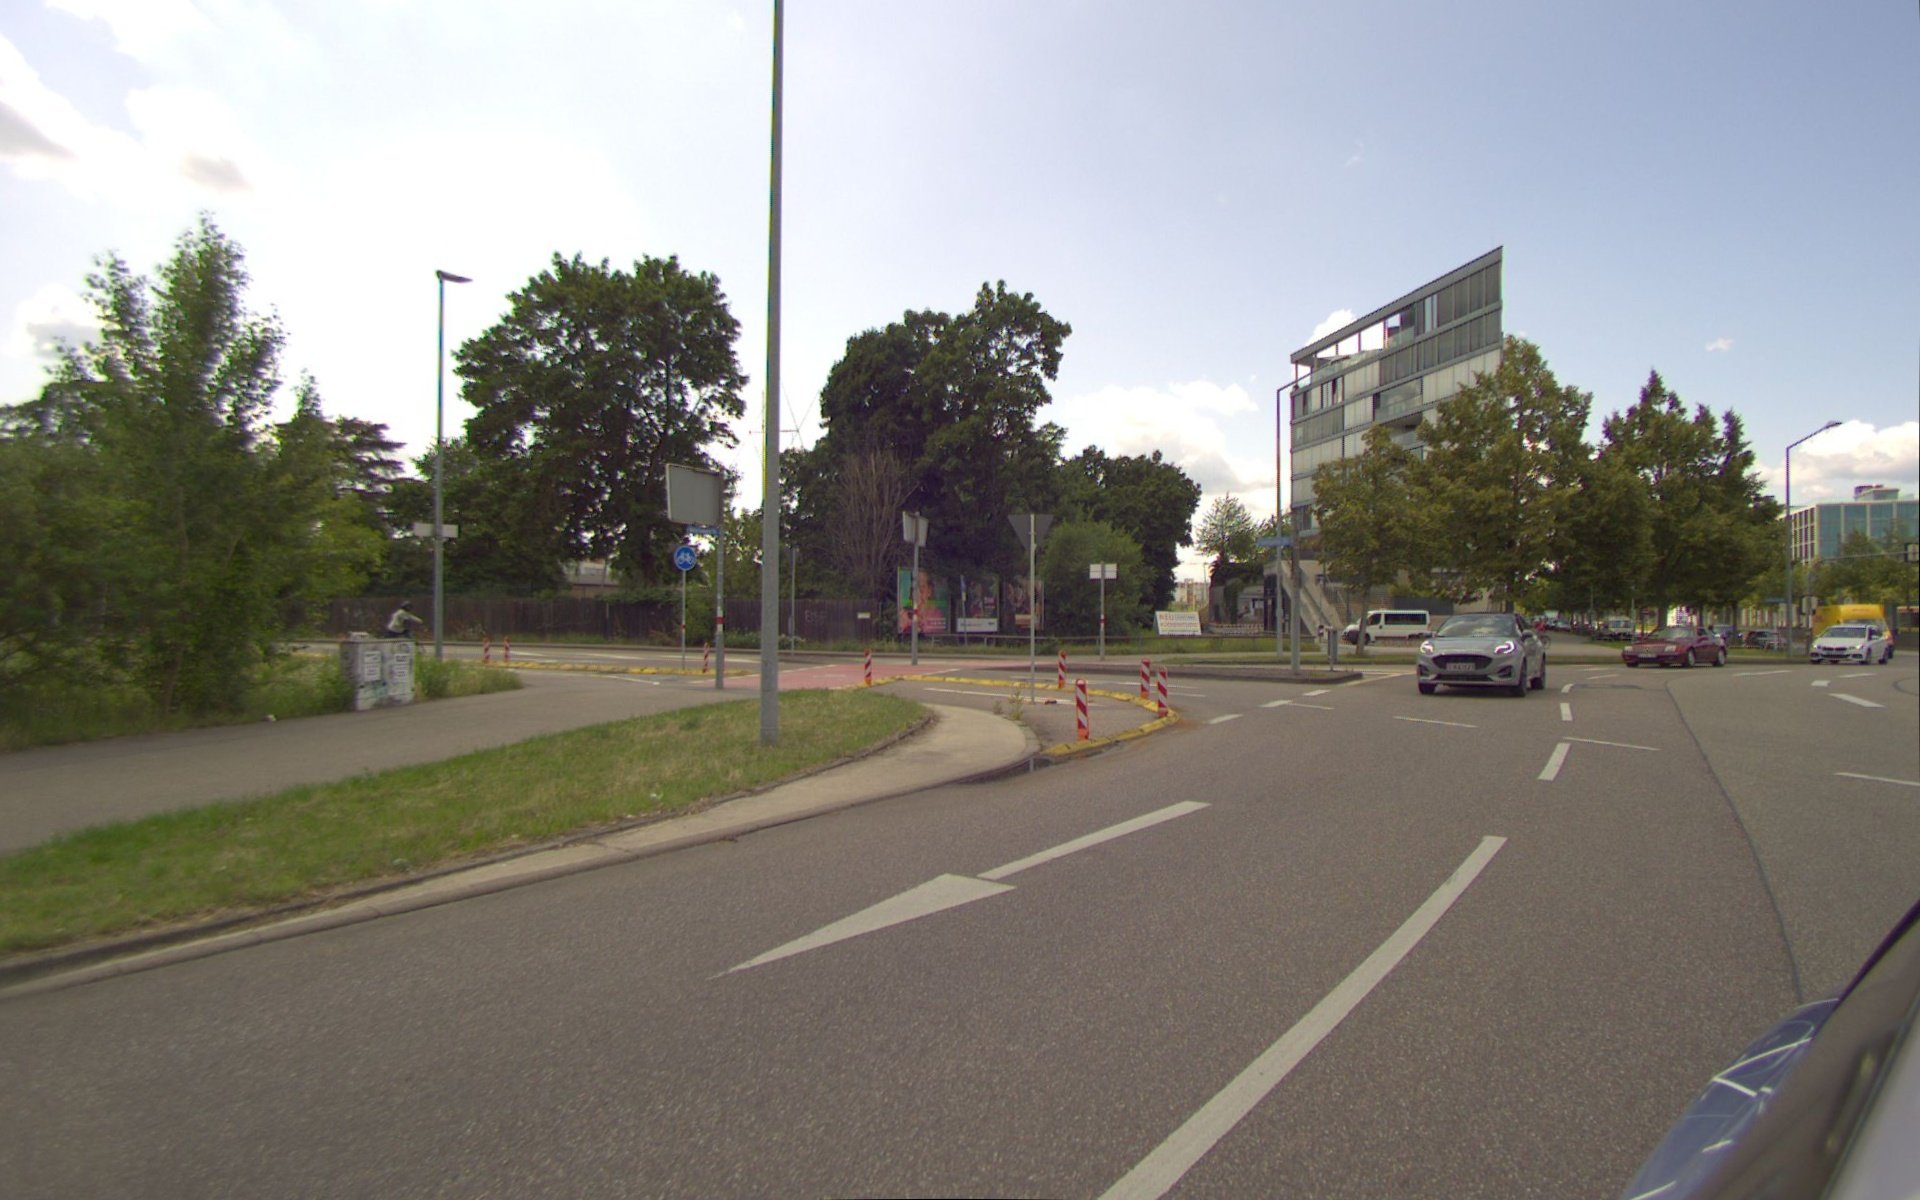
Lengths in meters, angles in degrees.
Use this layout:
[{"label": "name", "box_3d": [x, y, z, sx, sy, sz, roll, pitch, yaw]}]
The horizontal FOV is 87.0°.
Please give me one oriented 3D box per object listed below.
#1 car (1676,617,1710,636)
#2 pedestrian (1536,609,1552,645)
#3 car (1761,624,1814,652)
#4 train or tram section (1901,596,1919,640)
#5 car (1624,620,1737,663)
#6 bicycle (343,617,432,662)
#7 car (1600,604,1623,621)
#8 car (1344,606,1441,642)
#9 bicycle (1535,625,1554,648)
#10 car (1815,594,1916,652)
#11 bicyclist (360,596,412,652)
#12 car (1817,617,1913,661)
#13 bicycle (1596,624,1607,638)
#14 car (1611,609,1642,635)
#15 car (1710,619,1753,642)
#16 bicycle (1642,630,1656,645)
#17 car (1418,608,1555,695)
[{"label": "car", "box_3d": [69.386, 2.489, 95.860, 1.982, 1.713, 4.251, -3, -2, 29]}, {"label": "pedestrian", "box_3d": [33.575, 1.531, 58.179, 0.748, 2.039, 1.219, -1, -1, 28]}, {"label": "car", "box_3d": [56.308, 2.600, 68.940, 1.982, 1.784, 4.251, -3, -2, 29]}, {"label": "train or tram section", "box_3d": [79.148, 1.404, 80.171, 2.669, 3.685, 14.522, 0, -2, 27]}, {"label": "car", "box_3d": [22.851, 1.275, 32.072, 4.014, 1.278, 1.675, 1, -1, -35]}, {"label": "bicycle", "box_3d": [-14.041, 0.977, 24.788, 2.525, 1.031, 0.865, -3, -3, 34]}, {"label": "car", "box_3d": [65.949, 1.254, 102.406, 1.812, 1.672, 3.950, -3, -2, 34]}, {"label": "car", "box_3d": [26.752, 1.461, 62.757, 5.066, 2.175, 2.143, 0, -2, 9]}, {"label": "bicycle", "box_3d": [33.487, 2.060, 57.987, 0.805, 1.260, 2.387, 0, -1, 27]}, {"label": "car", "box_3d": [48.321, 1.218, 54.221, 2.264, 2.890, 7.185, -1, -1, 27]}, {"label": "bicyclist", "box_3d": [-14.078, 0.587, 24.825, 0.807, 1.342, 0.865, -3, -3, 35]}, {"label": "car", "box_3d": [36.135, 1.544, 40.393, 4.046, 1.619, 1.676, 0, -3, -31]}, {"label": "bicycle", "box_3d": [51.354, 2.494, 80.986, 0.511, 1.102, 1.734, 0, -1, 24]}, {"label": "car", "box_3d": [64.290, 2.131, 97.667, 2.145, 2.425, 6.206, -3, -2, 32]}, {"label": "car", "box_3d": [61.787, 2.429, 81.108, 1.982, 1.784, 4.251, -3, -2, 29]}, {"label": "bicycle", "box_3d": [40.121, 2.181, 58.963, 0.354, 0.837, 1.462, 0, -2, 22]}, {"label": "car", "box_3d": [10.226, 0.920, 19.511, 1.666, 1.490, 4.036, -1, -1, 38]}]
